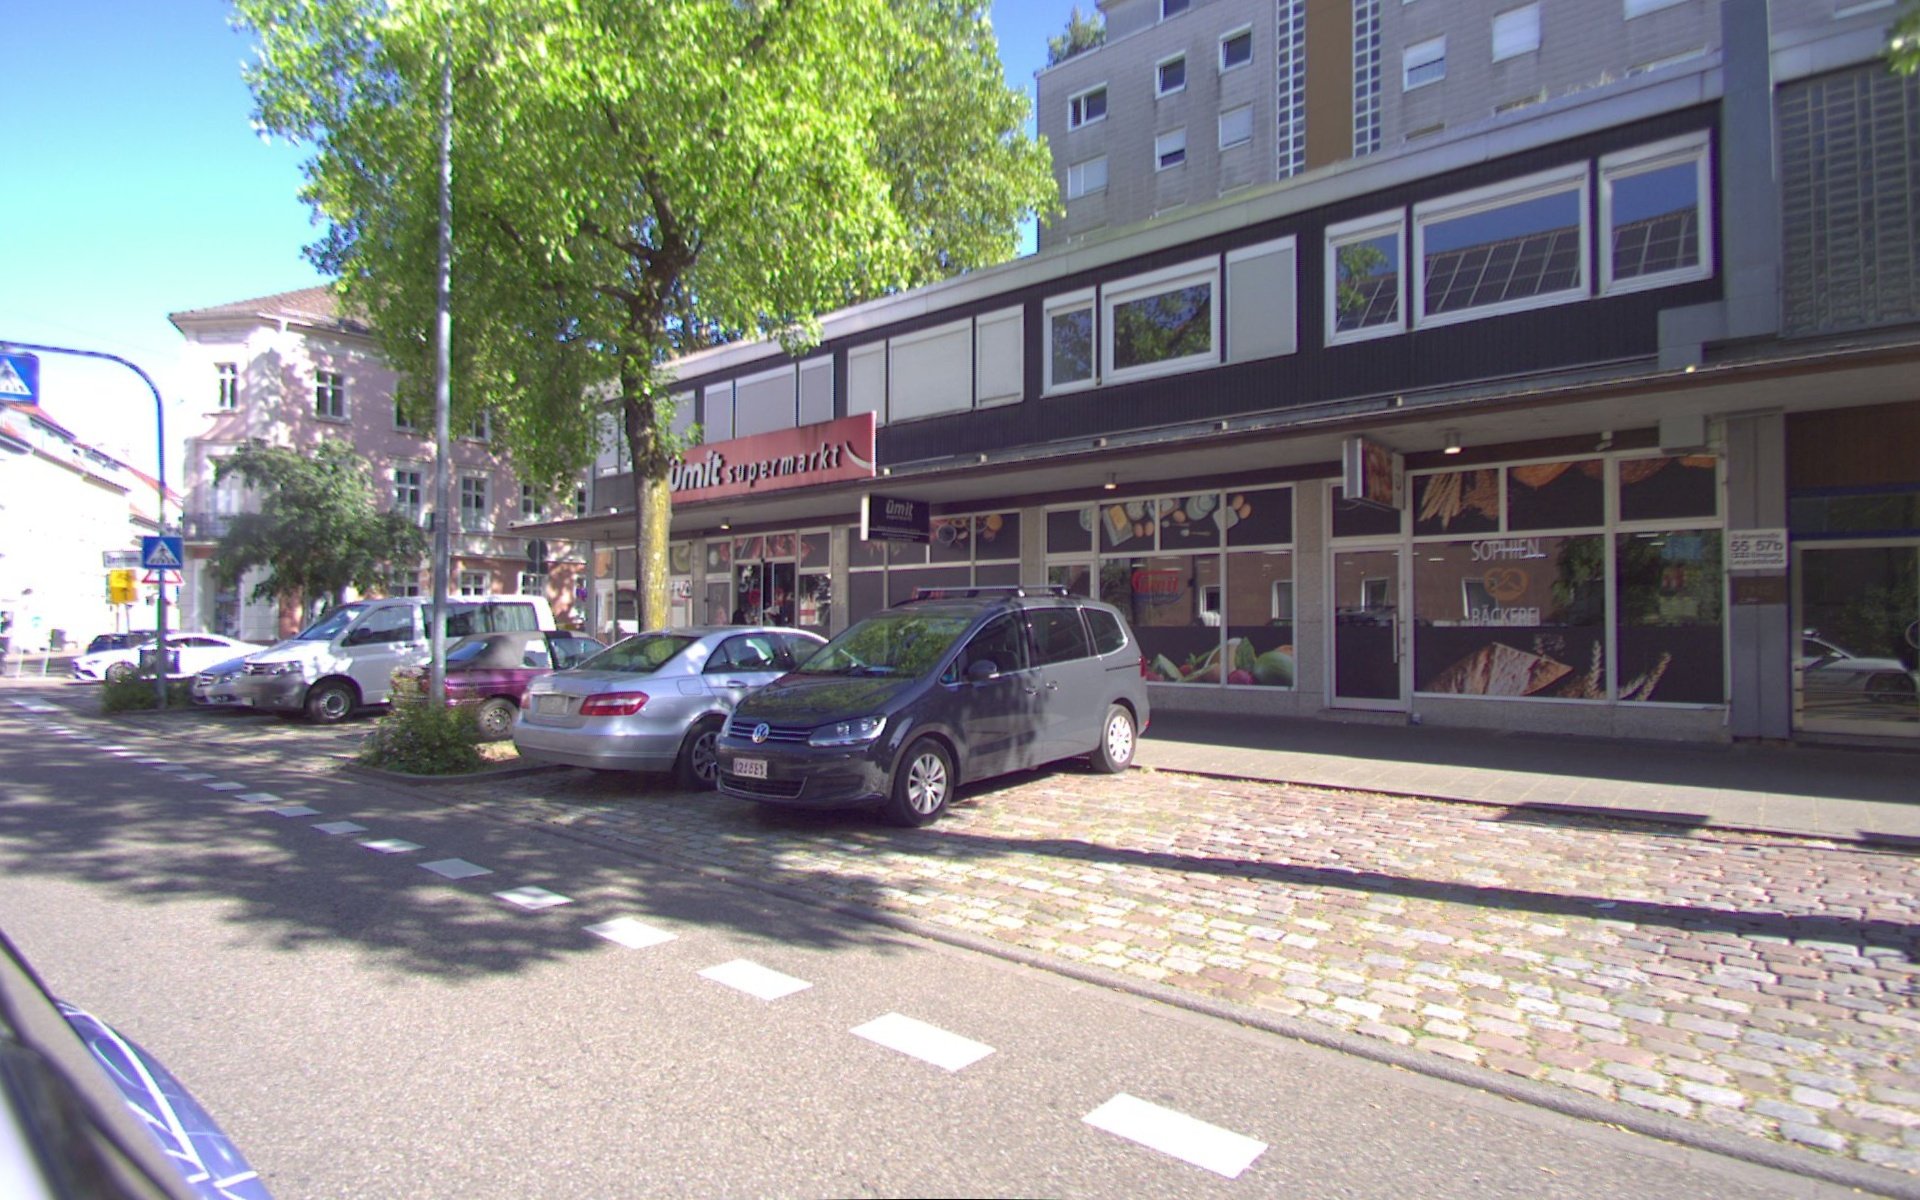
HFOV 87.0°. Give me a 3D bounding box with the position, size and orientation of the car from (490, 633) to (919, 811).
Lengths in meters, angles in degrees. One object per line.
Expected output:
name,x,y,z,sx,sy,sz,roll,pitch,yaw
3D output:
car,-2.347,1.041,10.170,1.757,1.409,3.949,-2,-3,38

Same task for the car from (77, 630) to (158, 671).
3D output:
car,-35.232,2.082,42.441,1.645,1.650,4.061,1,-2,-26

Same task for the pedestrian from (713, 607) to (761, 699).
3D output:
pedestrian,-3.929,0.920,17.840,0.662,1.567,0.522,-1,-1,41

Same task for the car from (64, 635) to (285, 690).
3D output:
car,-22.686,1.750,29.388,1.998,1.436,4.742,-2,-3,39

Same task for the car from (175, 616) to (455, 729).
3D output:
car,-11.605,1.239,18.435,1.755,1.805,3.947,-2,-3,39

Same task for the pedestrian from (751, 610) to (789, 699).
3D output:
pedestrian,-3.418,0.965,18.205,0.498,1.567,0.468,-1,-1,41

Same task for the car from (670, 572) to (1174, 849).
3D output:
car,-0.027,0.741,9.001,1.872,1.791,4.723,-2,-1,38

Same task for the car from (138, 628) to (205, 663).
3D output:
car,-39.681,2.270,51.024,1.827,1.674,4.013,1,-2,-26

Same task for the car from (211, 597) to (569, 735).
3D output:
car,-9.389,0.980,17.088,1.907,1.984,4.935,-2,-1,38

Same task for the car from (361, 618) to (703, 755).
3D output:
car,-5.699,1.050,13.874,1.735,1.431,3.949,-2,1,38

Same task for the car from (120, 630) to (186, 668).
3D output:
car,-37.395,2.261,46.988,1.482,1.674,4.013,1,-2,-26
